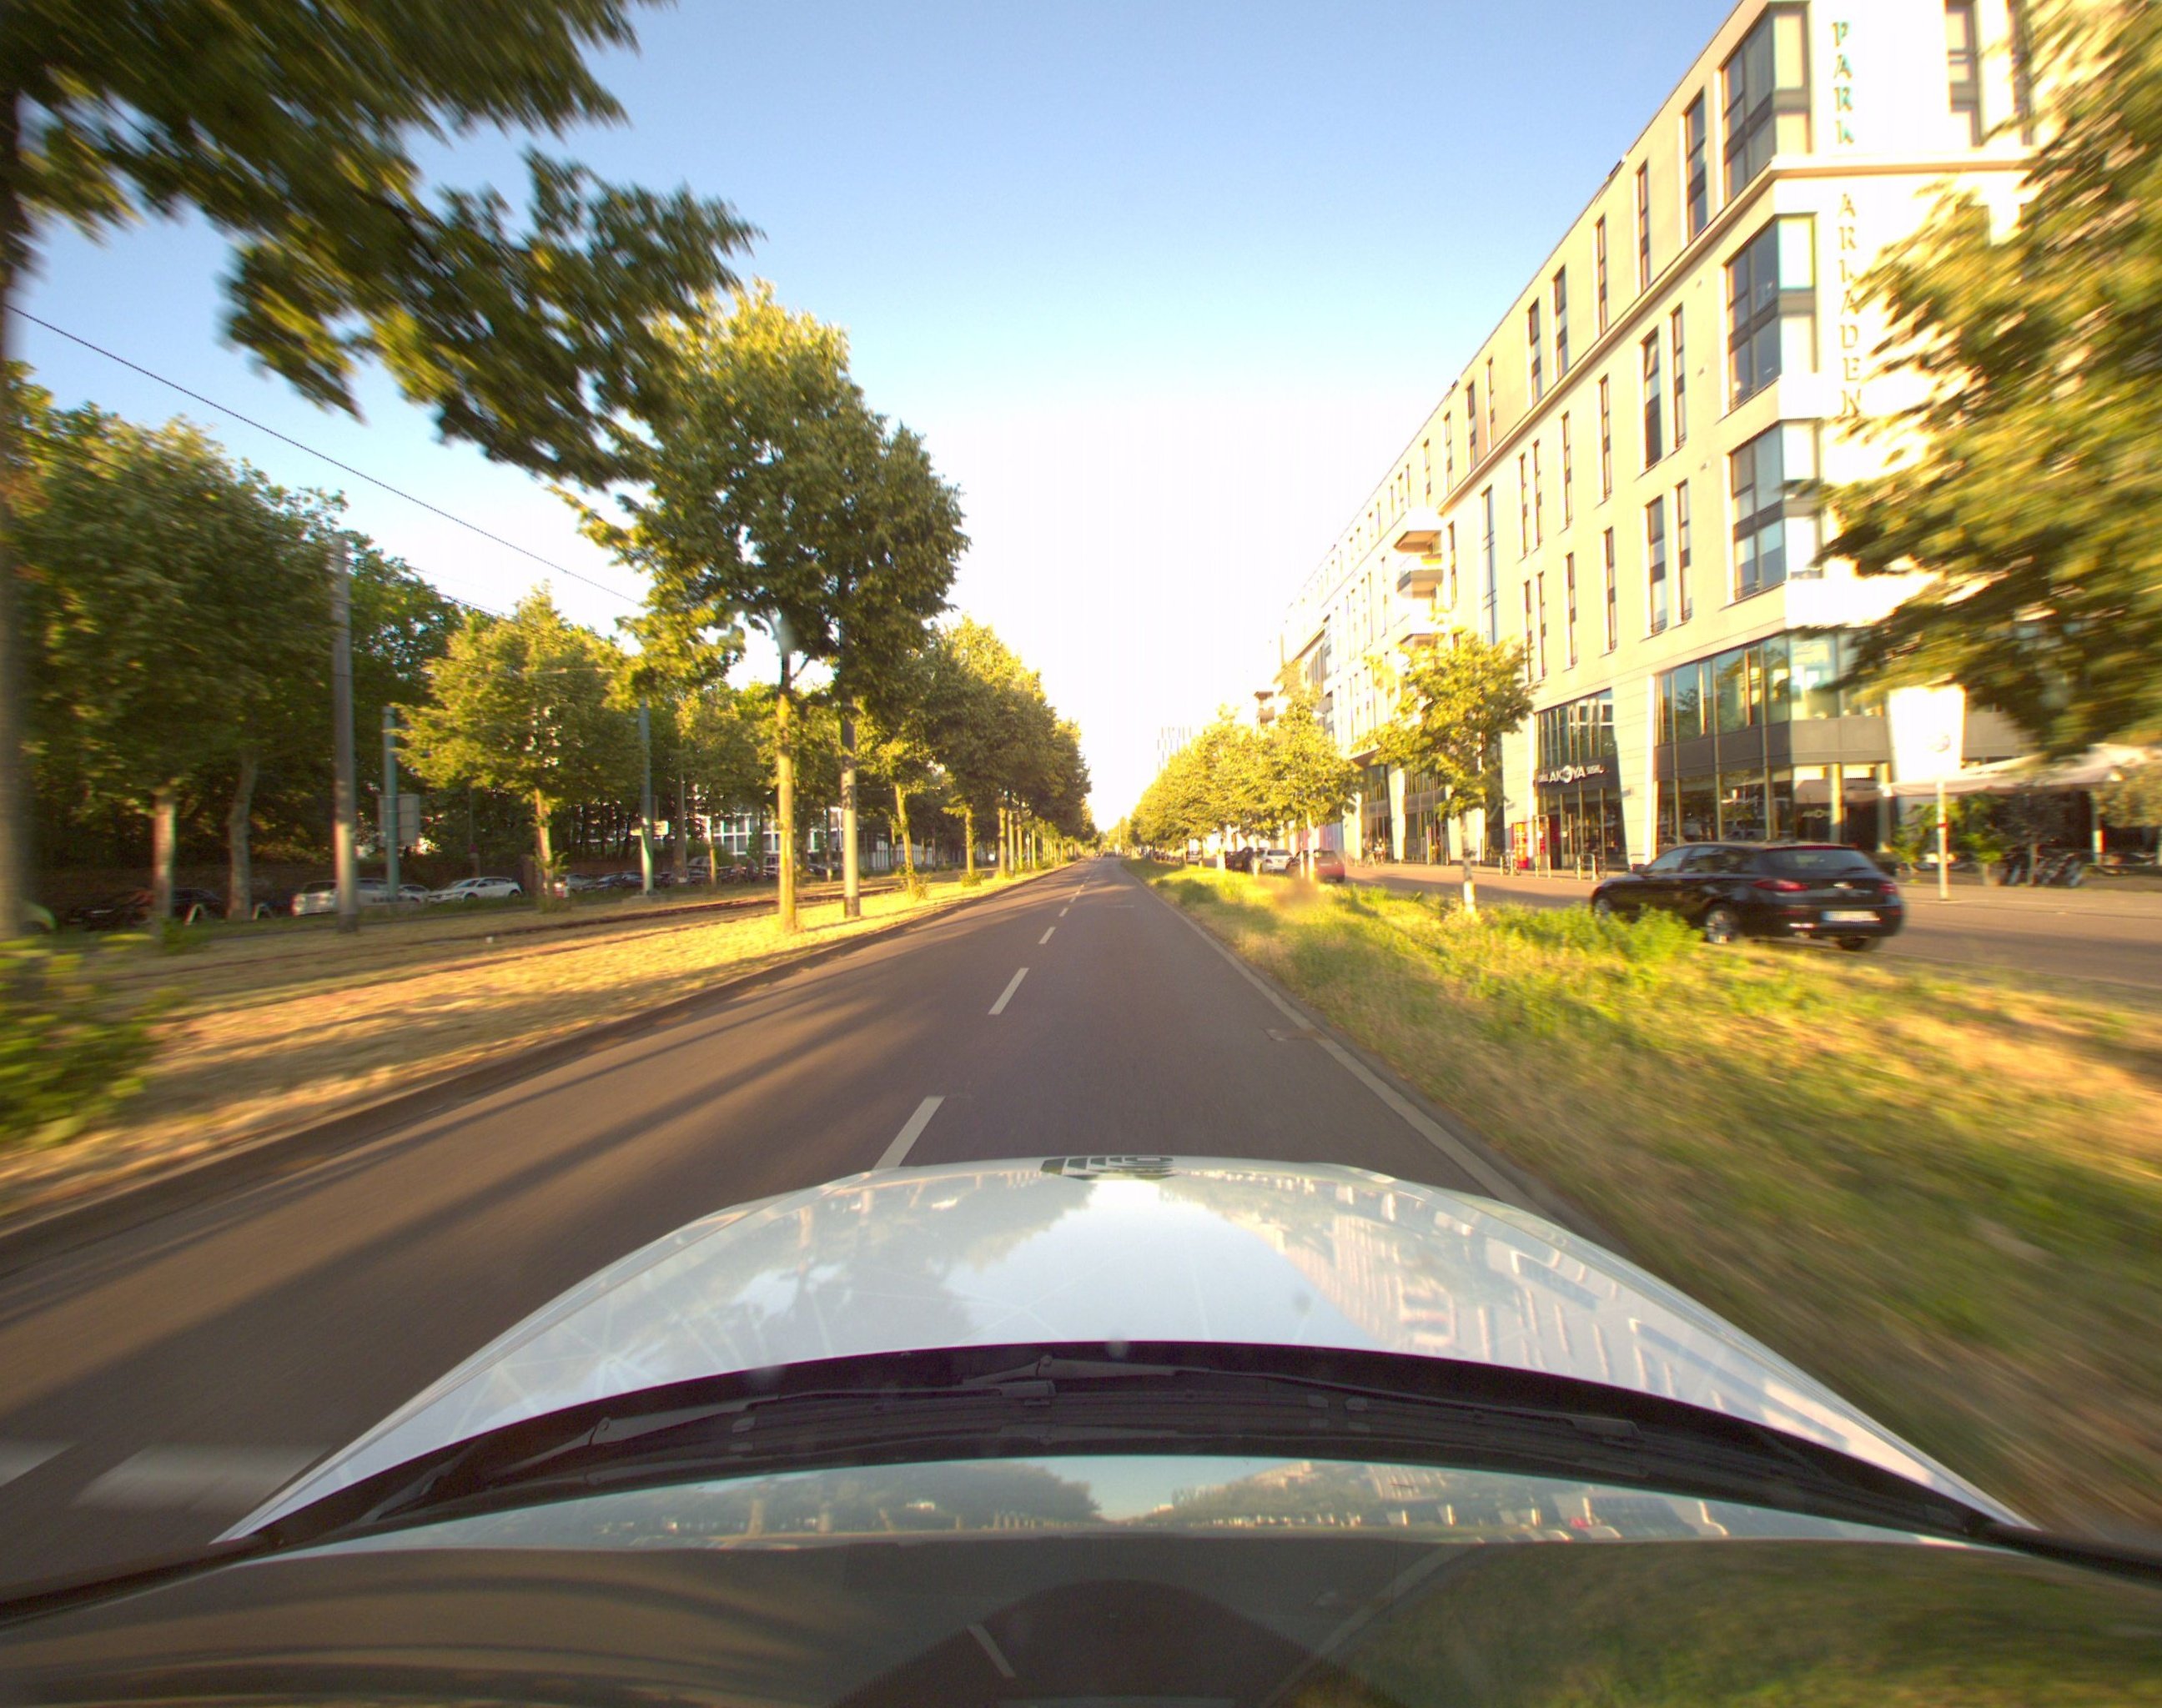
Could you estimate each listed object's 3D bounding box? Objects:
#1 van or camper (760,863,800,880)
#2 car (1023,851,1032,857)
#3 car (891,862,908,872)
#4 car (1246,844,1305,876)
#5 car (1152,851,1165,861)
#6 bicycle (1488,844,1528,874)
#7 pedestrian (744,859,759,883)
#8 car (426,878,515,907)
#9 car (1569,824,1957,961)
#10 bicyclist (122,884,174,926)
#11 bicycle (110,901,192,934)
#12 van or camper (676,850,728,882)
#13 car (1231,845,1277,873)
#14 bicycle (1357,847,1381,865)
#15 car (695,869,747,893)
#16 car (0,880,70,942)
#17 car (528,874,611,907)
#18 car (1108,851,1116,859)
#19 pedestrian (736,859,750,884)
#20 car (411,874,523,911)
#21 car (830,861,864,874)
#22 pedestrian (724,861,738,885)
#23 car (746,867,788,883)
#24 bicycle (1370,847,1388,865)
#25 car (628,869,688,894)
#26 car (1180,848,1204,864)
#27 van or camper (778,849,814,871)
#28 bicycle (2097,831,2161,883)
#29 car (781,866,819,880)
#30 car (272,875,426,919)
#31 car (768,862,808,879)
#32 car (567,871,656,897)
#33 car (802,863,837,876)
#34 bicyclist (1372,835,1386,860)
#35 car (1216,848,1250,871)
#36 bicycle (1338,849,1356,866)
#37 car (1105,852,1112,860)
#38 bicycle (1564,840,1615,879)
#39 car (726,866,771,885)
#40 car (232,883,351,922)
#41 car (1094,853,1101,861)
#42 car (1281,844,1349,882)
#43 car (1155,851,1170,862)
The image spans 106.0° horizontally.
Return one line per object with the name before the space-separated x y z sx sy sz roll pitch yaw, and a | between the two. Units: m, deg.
van or camper | -35.078 1.986 95.099 3.986 1.791 1.994 -2 0 -9
car | -14.803 0.061 225.763 1.878 1.578 4.183 -2 0 1
car | -31.289 2.253 140.403 1.852 1.581 3.494 -2 0 2
car | 10.112 0.302 42.657 1.914 1.501 5.010 -2 0 1
car | 12.756 0.336 135.021 1.848 1.529 4.484 0 0 1
bicycle | 17.020 0.190 32.499 0.544 1.128 1.868 -3 0 0
pedestrian | -24.577 1.250 60.765 0.691 1.743 0.866 -2 -1 -1
car | -36.892 2.300 49.372 1.982 1.486 4.010 -2 0 8
car | 9.037 0.432 11.408 1.802 1.501 4.369 -2 0 1
bicyclist | -36.348 1.983 31.738 0.724 1.533 1.088 -2 0 7
bicycle | -36.308 2.463 31.836 0.727 1.091 2.020 -2 0 7
van or camper | -34.345 1.023 73.953 2.078 2.735 5.494 -2 0 0
car | 10.588 0.279 50.187 1.946 1.623 4.822 0 0 1
bicycle | 17.232 0.146 48.715 0.618 1.033 2.261 -2 0 1
car | -29.002 2.139 65.787 1.986 1.750 4.791 -2 0 1
car | -30.577 1.620 21.779 1.986 1.640 4.002 -2 0 2
car | -30.582 2.154 48.826 1.983 1.750 4.168 -2 0 7
car | 8.558 0.323 222.897 1.987 2.013 4.001 -2 0 1
pedestrian | -25.372 1.320 61.183 0.692 1.870 0.864 -2 -1 -6
car | -29.114 1.805 38.828 1.892 1.499 4.309 -2 0 2
car | -31.995 1.831 111.403 3.976 1.640 1.921 -2 0 -2
pedestrian | -26.085 1.397 60.673 0.692 1.759 0.864 -2 -1 -6
car | -35.541 2.333 92.200 3.976 1.640 1.921 -2 0 -2
bicycle | 19.038 0.123 52.018 0.540 1.118 1.915 -2 0 5
car | -29.278 1.882 56.464 1.793 1.560 3.845 -2 0 7
car | 11.365 0.167 83.701 1.802 1.501 4.826 -2 0 1
van or camper | -42.564 0.873 121.744 2.697 3.085 6.272 -2 0 5
bicycle | 23.663 0.055 18.013 1.790 1.107 0.500 -2 0 -3
car | -34.848 2.335 101.161 3.964 1.640 1.927 -2 0 8
car | -29.576 1.685 33.155 1.986 1.499 4.560 -2 0 2
car | -35.369 1.992 98.430 3.972 1.844 2.013 -2 0 2
car | -27.967 1.769 48.753 1.984 1.315 5.150 -2 0 5
car | -34.815 2.034 108.650 3.976 1.640 1.921 -2 0 -2
bicyclist | 19.015 -0.437 51.972 0.542 1.568 1.021 -2 0 5
car | 10.700 0.364 57.569 1.717 1.501 4.234 -1 0 2
bicycle | 17.679 0.229 54.209 0.532 1.059 1.610 -2 0 -4
car | 8.218 0.593 240.959 1.986 2.013 4.002 -2 0 2
bicycle | 16.791 0.191 26.935 0.615 1.231 1.670 -2 0 0
car | -28.977 1.837 71.193 1.984 1.486 4.005 -2 0 5
car | -38.134 2.326 39.470 1.757 1.596 3.843 -2 0 5
car | 4.748 0.831 235.990 2.080 2.013 4.001 -2 0 1
car | 9.995 0.367 35.075 1.802 1.501 3.960 -2 0 1
car | 12.768 0.425 127.774 1.937 1.549 4.810 -2 0 0
